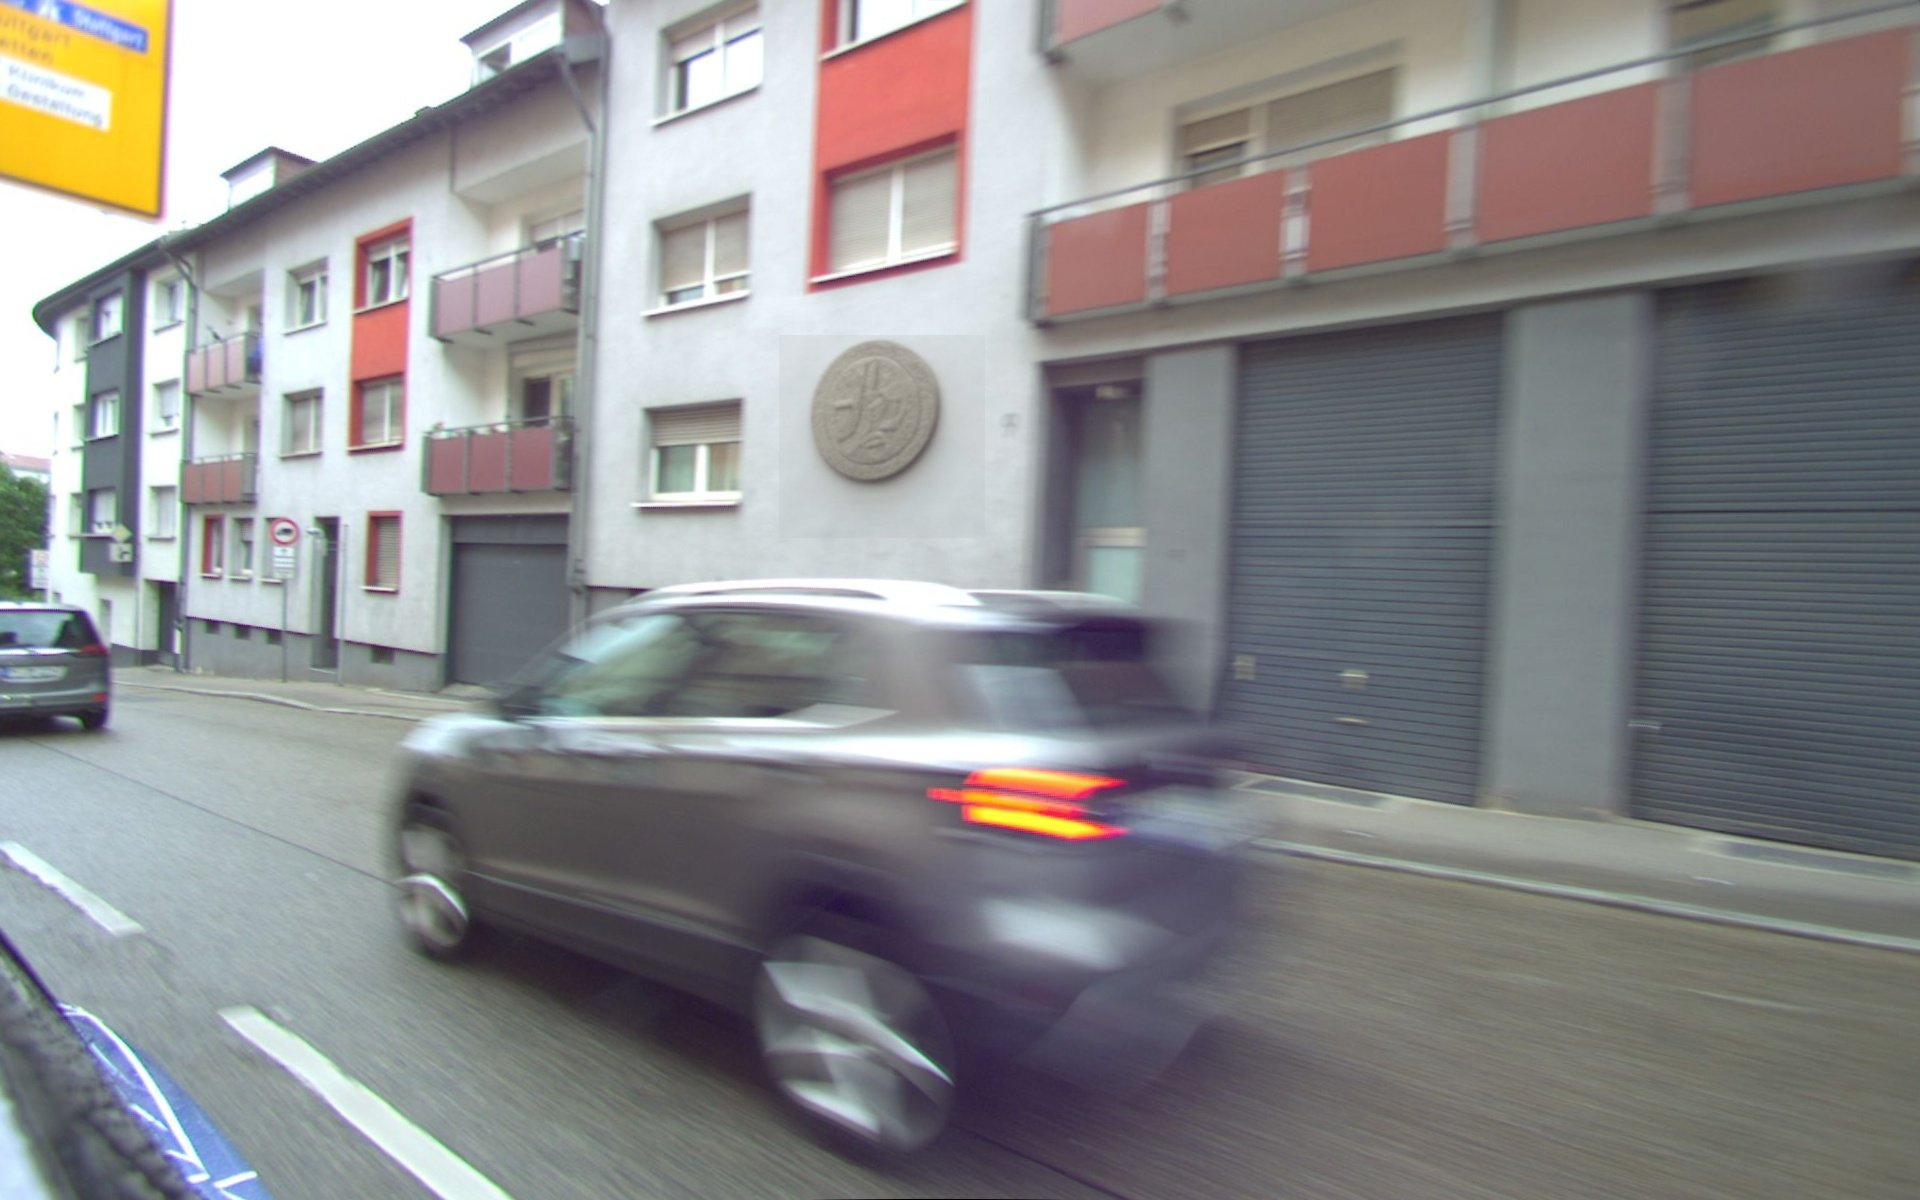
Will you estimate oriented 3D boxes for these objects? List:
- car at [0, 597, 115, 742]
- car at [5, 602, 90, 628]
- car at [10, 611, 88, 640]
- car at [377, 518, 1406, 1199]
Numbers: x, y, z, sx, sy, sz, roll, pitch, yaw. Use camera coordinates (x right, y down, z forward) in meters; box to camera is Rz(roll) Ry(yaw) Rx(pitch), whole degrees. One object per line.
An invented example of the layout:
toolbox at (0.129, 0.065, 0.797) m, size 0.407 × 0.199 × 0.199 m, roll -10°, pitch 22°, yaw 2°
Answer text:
car at (-12.556, 0.818, 13.042) m, size 3.982 × 1.670 × 1.747 m, roll -1°, pitch -2°, yaw 39°
car at (-63.821, 1.085, 70.864) m, size 1.784 × 1.522 × 3.979 m, roll 2°, pitch -4°, yaw 16°
car at (-59.783, 1.697, 66.421) m, size 4.172 × 1.634 × 1.630 m, roll 3°, pitch -4°, yaw 14°
car at (-0.520, 0.679, 3.874) m, size 3.761 × 1.588 × 1.746 m, roll -1°, pitch -3°, yaw 40°
